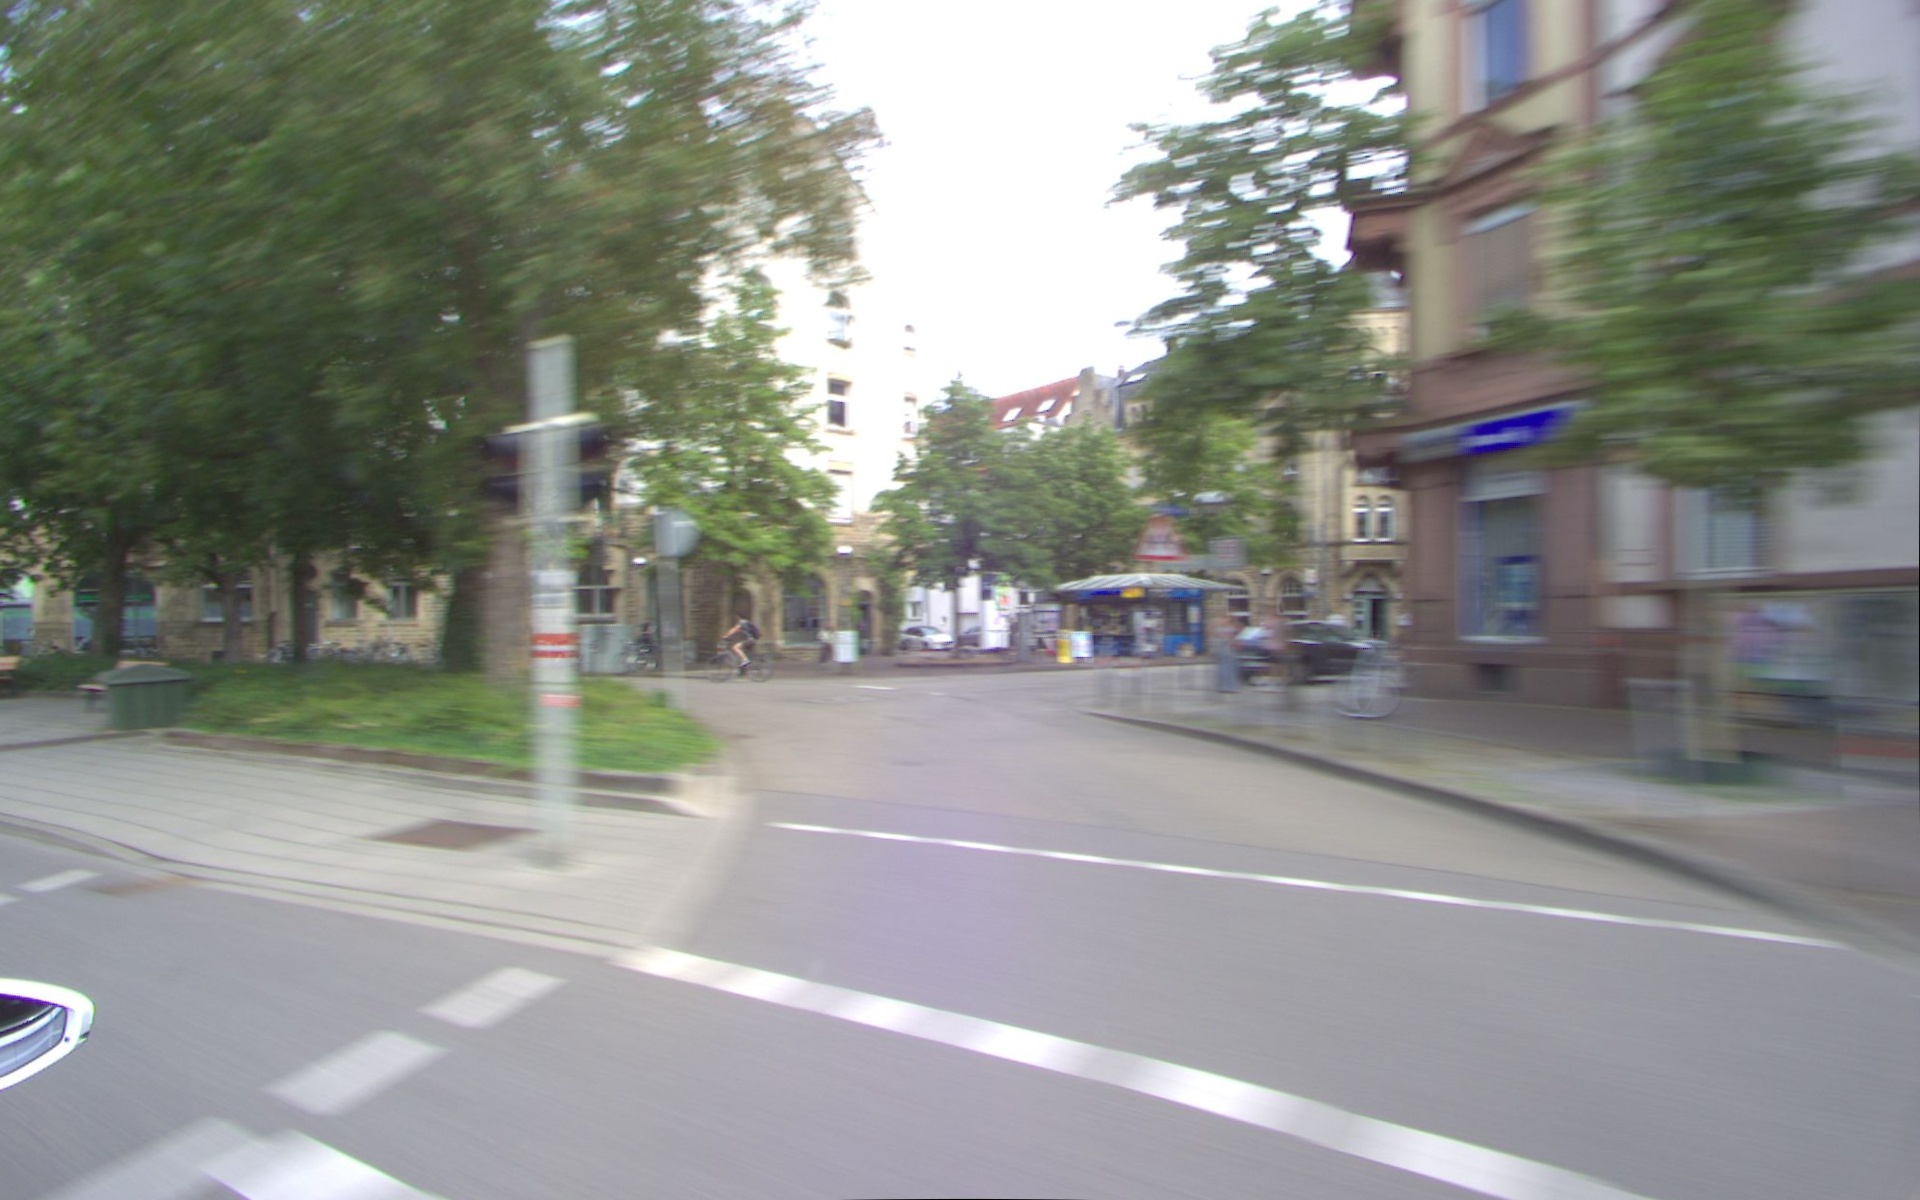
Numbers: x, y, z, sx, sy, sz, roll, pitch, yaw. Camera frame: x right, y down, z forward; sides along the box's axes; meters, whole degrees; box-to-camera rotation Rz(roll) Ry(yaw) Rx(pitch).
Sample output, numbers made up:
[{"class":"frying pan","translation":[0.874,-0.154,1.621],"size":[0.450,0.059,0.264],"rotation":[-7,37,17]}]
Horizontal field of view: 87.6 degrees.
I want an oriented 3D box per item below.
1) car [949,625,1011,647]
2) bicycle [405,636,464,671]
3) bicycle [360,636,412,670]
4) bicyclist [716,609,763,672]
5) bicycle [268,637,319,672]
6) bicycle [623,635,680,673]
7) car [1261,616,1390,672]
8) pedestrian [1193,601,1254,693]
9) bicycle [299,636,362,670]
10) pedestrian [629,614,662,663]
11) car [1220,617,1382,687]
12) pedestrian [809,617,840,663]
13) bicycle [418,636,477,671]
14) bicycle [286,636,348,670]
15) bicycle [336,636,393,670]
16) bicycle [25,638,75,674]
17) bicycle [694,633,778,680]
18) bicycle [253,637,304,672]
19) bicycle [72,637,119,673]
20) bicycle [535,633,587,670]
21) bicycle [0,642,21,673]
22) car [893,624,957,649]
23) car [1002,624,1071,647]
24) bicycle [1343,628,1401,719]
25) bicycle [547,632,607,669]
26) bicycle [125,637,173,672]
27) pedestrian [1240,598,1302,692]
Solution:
[{"class":"car","translation":[1.273,2.356,66.505],"size":[1.753,1.413,4.319],"rotation":[0,-1,-39]},{"class":"bicycle","translation":[-18.171,1.848,34.682],"size":[0.524,1.142,1.888],"rotation":[-1,-1,25]},{"class":"bicycle","translation":[-20.030,1.831,34.978],"size":[0.583,1.142,1.894],"rotation":[0,-1,6]},{"class":"bicyclist","translation":[-5.731,1.042,26.084],"size":[1.117,1.627,0.646],"rotation":[0,0,-7]},{"class":"bicycle","translation":[-23.408,1.897,35.206],"size":[0.522,1.143,1.893],"rotation":[0,0,-2]},{"class":"bicycle","translation":[-9.783,1.689,31.830],"size":[0.525,1.142,1.885],"rotation":[-1,-1,30]},{"class":"car","translation":[10.863,1.258,29.683],"size":[3.953,1.543,1.805],"rotation":[0,-1,-38]},{"class":"pedestrian","translation":[5.159,0.896,19.640],"size":[0.722,1.752,0.889],"rotation":[-2,1,-28]},{"class":"bicycle","translation":[-22.028,1.845,35.066],"size":[0.588,1.142,1.890],"rotation":[-1,-1,20]},{"class":"pedestrian","translation":[-11.035,1.331,35.170],"size":[0.820,1.697,0.731],"rotation":[0,0,19]},{"class":"car","translation":[7.949,1.149,23.210],"size":[3.956,1.460,1.803],"rotation":[0,-1,-40]},{"class":"pedestrian","translation":[-4.836,1.416,35.744],"size":[0.826,1.644,0.726],"rotation":[0,0,-41]},{"class":"bicycle","translation":[-17.629,1.811,34.473],"size":[0.524,1.142,1.888],"rotation":[-1,-1,25]},{"class":"bicycle","translation":[-22.599,1.854,35.225],"size":[0.553,1.142,1.890],"rotation":[-1,-1,20]},{"class":"bicycle","translation":[-20.827,1.838,35.078],"size":[0.571,1.142,1.893],"rotation":[-1,-1,12]},{"class":"bicycle","translation":[-30.696,1.875,33.792],"size":[0.523,1.142,1.890],"rotation":[0,-1,-19]},{"class":"bicycle","translation":[-5.814,1.466,26.074],"size":[2.063,1.167,0.654],"rotation":[0,0,-7]},{"class":"bicycle","translation":[-23.949,1.908,35.213],"size":[0.522,1.143,1.893],"rotation":[0,0,-2]},{"class":"bicycle","translation":[-29.492,1.861,34.186],"size":[0.523,1.142,1.890],"rotation":[0,-1,-19]},{"class":"bicycle","translation":[-13.314,1.704,33.473],"size":[0.523,1.142,1.891],"rotation":[-1,-1,18]},{"class":"bicycle","translation":[-32.315,1.934,33.616],"size":[0.523,0.984,1.646],"rotation":[0,-1,-19]},{"class":"car","translation":[-2.089,2.134,58.811],"size":[1.753,1.413,3.967],"rotation":[0,-1,-39]},{"class":"car","translation":[4.731,2.192,62.346],"size":[1.753,1.413,4.319],"rotation":[0,-1,-39]},{"class":"bicycle","translation":[5.695,0.985,13.901],"size":[0.661,1.159,1.668],"rotation":[0,0,20]},{"class":"bicycle","translation":[-12.593,1.643,32.938],"size":[0.525,1.142,1.883],"rotation":[-1,-1,34]},{"class":"bicycle","translation":[-27.941,1.867,34.515],"size":[0.656,1.142,1.890],"rotation":[0,-1,-19]},{"class":"pedestrian","translation":[5.950,0.840,19.176],"size":[0.882,1.752,0.751],"rotation":[-2,1,-37]}]
